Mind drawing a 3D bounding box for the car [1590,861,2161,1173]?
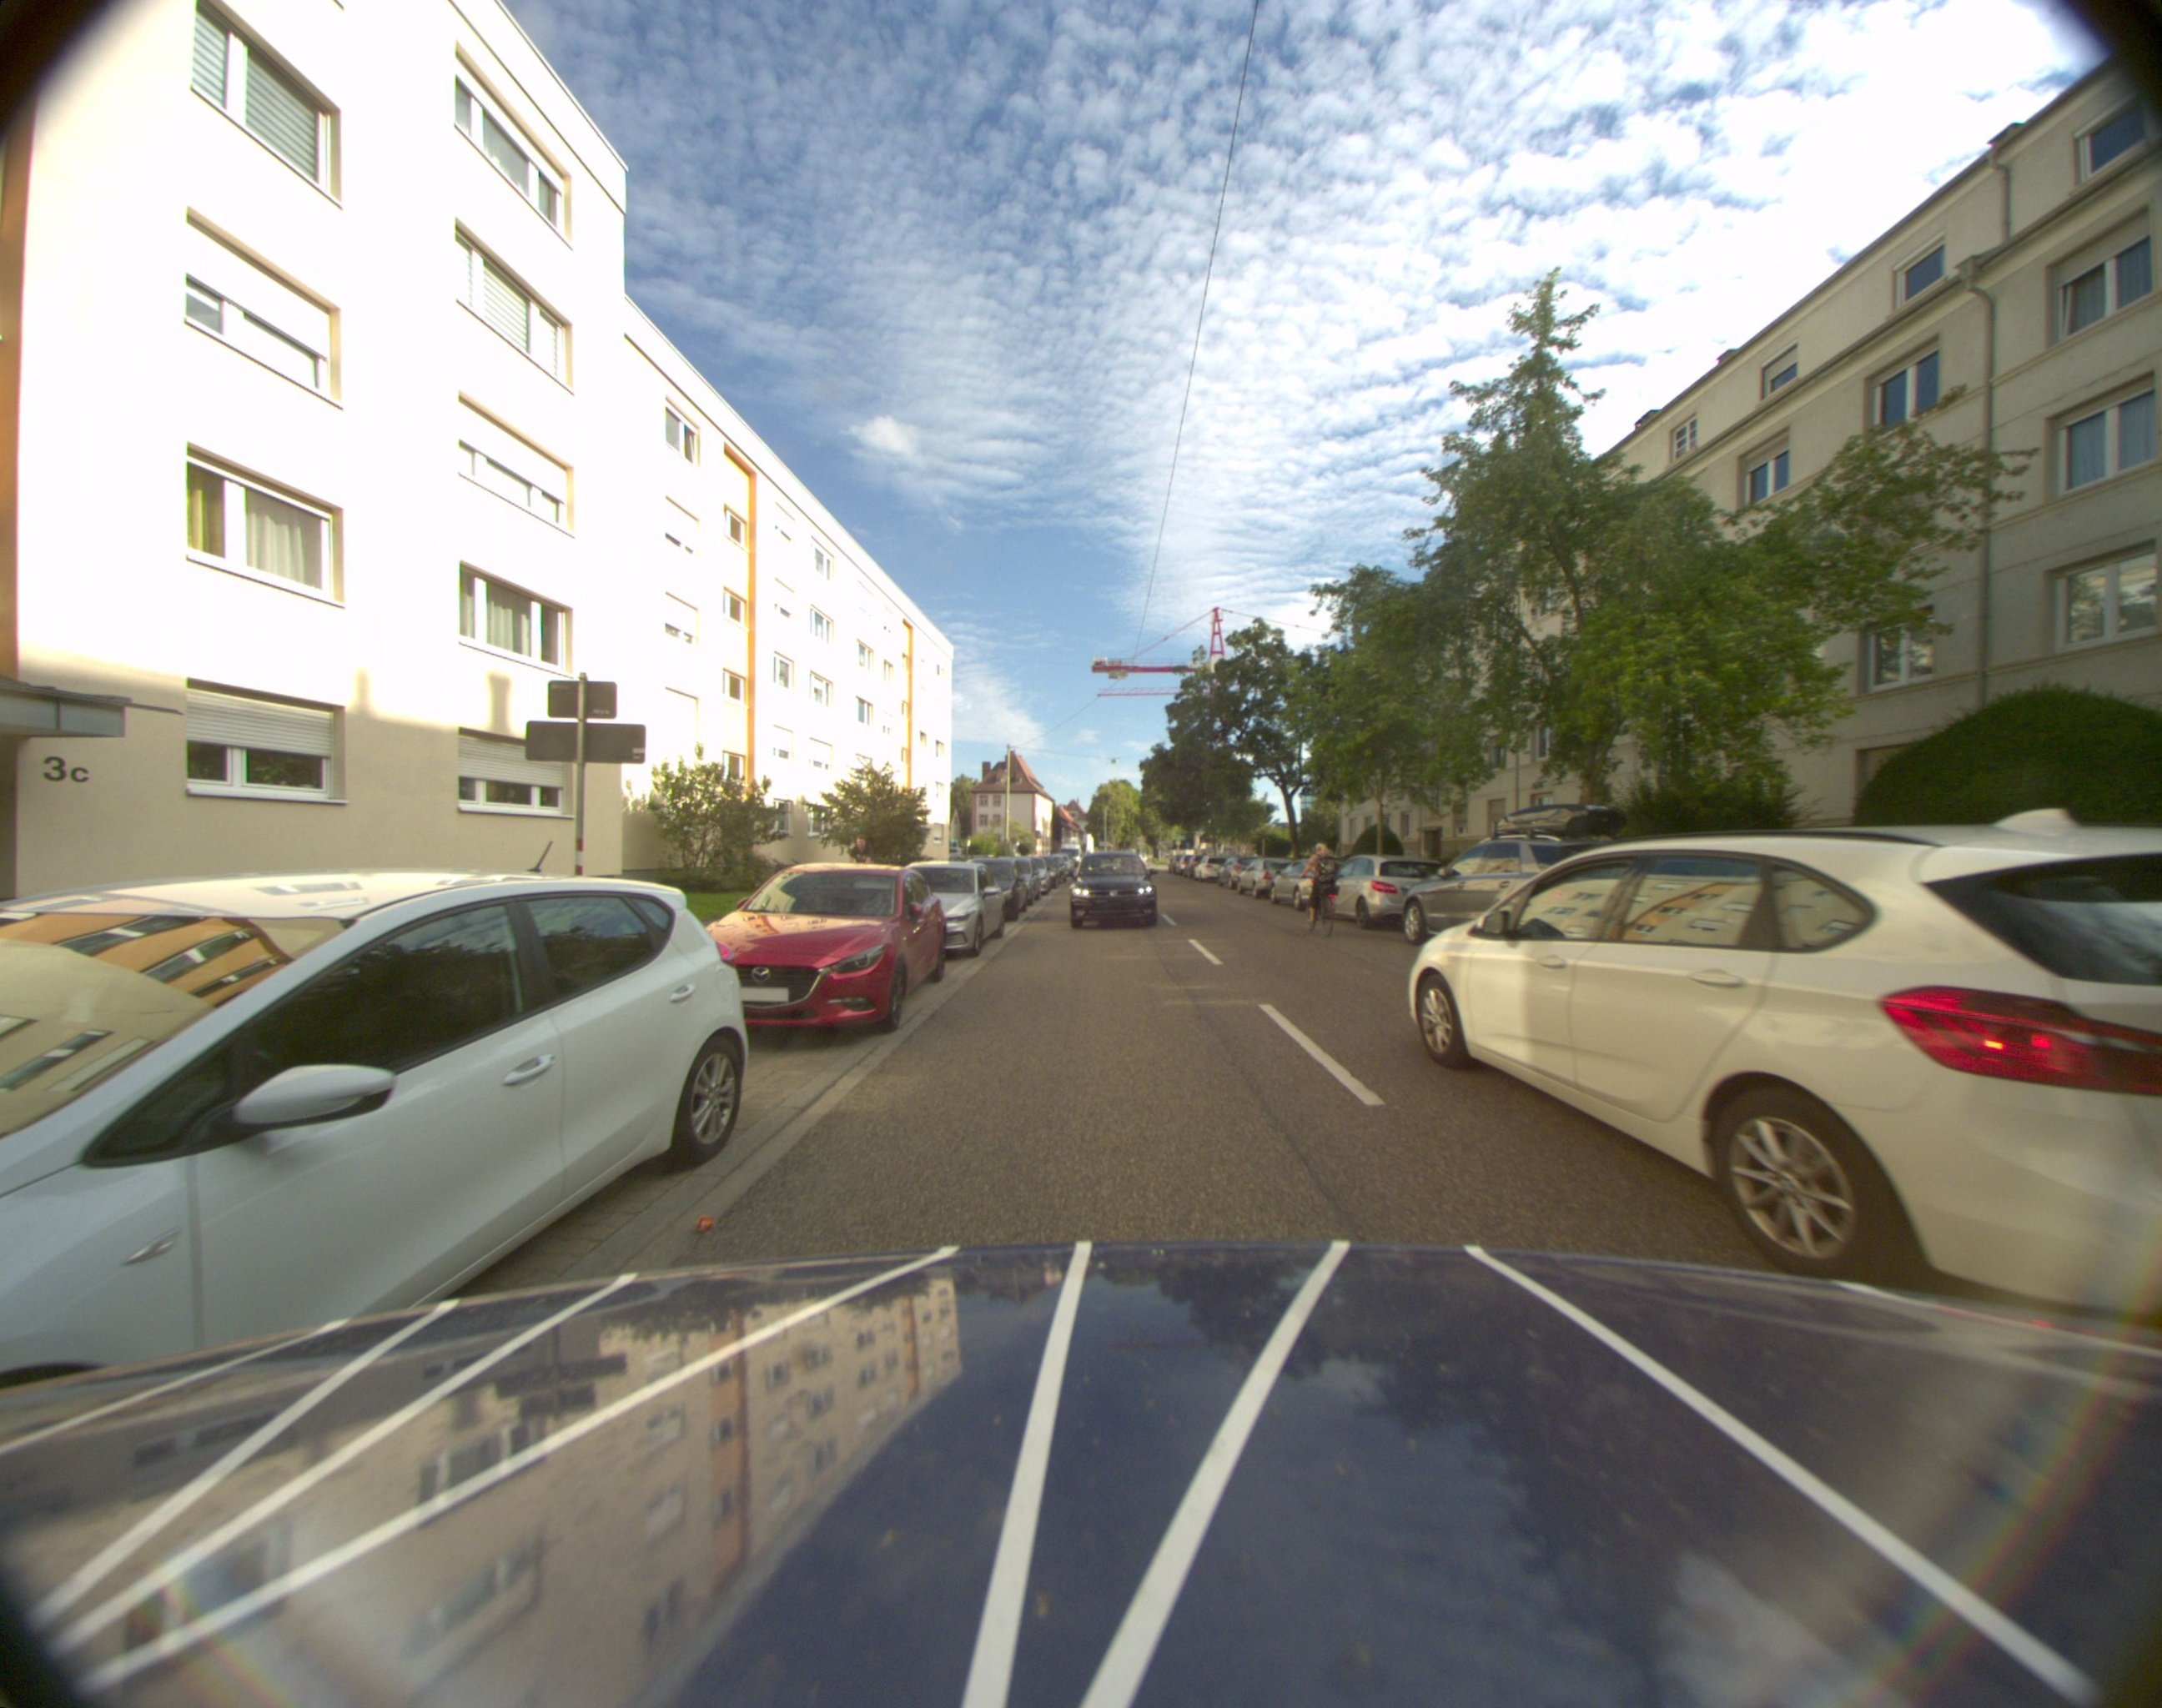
[{"bbox_3d":[6.088,0.867,5.787,1.689,1.472,4.119,3,1,2],"label":"car"}]

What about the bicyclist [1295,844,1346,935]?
[{"bbox_3d":[4.312,0.613,13.734,0.643,1.591,0.990,0,1,2],"label":"bicyclist"}]

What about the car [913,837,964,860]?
[{"bbox_3d":[-13.818,-0.556,73.826,4.275,2.179,2.368,0,1,9],"label":"car"}]

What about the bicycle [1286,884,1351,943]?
[{"bbox_3d":[4.281,1.043,13.818,0.643,0.918,1.858,-1,0,2],"label":"bicycle"}]

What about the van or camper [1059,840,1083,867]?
[{"bbox_3d":[-0.926,-0.070,74.762,2.165,2.512,5.914,2,0,1],"label":"van or camper"}]

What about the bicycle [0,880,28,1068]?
[{"bbox_3d":[-7.745,0.831,4.023,0.605,1.283,2.635,1,1,2],"label":"bicycle"}]

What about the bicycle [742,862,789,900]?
[{"bbox_3d":[-9.503,0.796,22.958,0.502,1.024,2.069,3,1,1],"label":"bicycle"}]

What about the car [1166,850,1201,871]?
[{"bbox_3d":[7.647,0.458,57.114,1.932,1.477,4.420,2,0,-1],"label":"car"}]

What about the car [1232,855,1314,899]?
[{"bbox_3d":[6.805,0.762,27.420,1.742,1.385,4.666,3,0,1],"label":"car"}]

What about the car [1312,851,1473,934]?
[{"bbox_3d":[6.654,0.731,16.817,1.859,1.564,4.460,1,0,2],"label":"car"}]

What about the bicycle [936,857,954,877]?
[{"bbox_3d":[-7.352,0.698,41.181,0.597,0.992,1.692,0,2,1],"label":"bicycle"}]

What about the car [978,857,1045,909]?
[{"bbox_3d":[-2.191,0.886,25.037,1.687,1.477,4.293,2,1,1],"label":"car"}]

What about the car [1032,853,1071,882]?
[{"bbox_3d":[-1.547,0.691,40.573,1.687,1.427,4.207,1,0,3],"label":"car"}]

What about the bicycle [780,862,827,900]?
[{"bbox_3d":[-8.380,0.782,23.031,0.595,1.024,2.119,3,1,1],"label":"bicycle"}]

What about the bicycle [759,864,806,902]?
[{"bbox_3d":[-8.982,0.850,22.942,0.502,1.024,2.095,3,1,1],"label":"bicycle"}]

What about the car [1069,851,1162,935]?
[{"bbox_3d":[0.675,0.796,17.406,1.859,1.673,3.999,-1,0,-1],"label":"car"}]

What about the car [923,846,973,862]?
[{"bbox_3d":[-12.283,-0.011,70.196,4.084,1.473,1.872,0,1,11],"label":"car"}]

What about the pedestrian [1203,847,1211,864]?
[{"bbox_3d":[13.443,0.148,81.146,0.743,1.758,0.775,-1,1,0],"label":"pedestrian"}]

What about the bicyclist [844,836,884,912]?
[{"bbox_3d":[-4.872,0.429,17.081,0.625,1.668,0.893,0,1,1],"label":"bicyclist"}]

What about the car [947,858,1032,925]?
[{"bbox_3d":[-2.265,0.889,19.699,1.666,1.482,3.941,1,0,0],"label":"car"}]

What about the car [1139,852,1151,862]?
[{"bbox_3d":[10.609,0.552,126.724,1.834,1.659,4.085,0,0,2],"label":"car"}]

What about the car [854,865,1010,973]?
[{"bbox_3d":[-2.328,0.960,12.908,1.665,1.408,4.059,2,1,2],"label":"car"}]

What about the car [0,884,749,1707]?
[{"bbox_3d":[-2.731,0.919,2.135,1.733,1.452,4.116,1,1,1],"label":"car"}]

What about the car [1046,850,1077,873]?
[{"bbox_3d":[-1.301,0.486,53.149,1.767,1.515,4.330,2,1,3],"label":"car"}]

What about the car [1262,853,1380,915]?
[{"bbox_3d":[6.728,0.778,21.921,1.860,1.477,4.944,3,0,1],"label":"car"}]

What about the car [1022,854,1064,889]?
[{"bbox_3d":[-1.724,0.780,35.520,1.688,1.492,3.873,1,0,0],"label":"car"}]

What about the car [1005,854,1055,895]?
[{"bbox_3d":[-1.959,0.768,30.274,1.704,1.455,4.179,1,0,-1],"label":"car"}]

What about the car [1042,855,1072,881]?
[{"bbox_3d":[-1.446,0.788,45.828,1.688,1.459,4.205,1,0,-2],"label":"car"}]

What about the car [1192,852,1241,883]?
[{"bbox_3d":[7.301,0.667,41.389,1.860,1.477,4.798,3,0,1],"label":"car"}]

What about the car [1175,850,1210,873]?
[{"bbox_3d":[7.611,0.486,52.166,1.825,1.477,4.369,2,0,2],"label":"car"}]

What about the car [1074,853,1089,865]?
[{"bbox_3d":[0.101,0.644,95.375,1.662,1.477,4.001,0,0,4],"label":"car"}]

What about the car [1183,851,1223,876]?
[{"bbox_3d":[7.451,0.552,46.773,1.860,1.477,4.684,0,0,1],"label":"car"}]

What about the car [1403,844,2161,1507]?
[{"bbox_3d":[3.284,0.732,3.709,1.863,1.520,4.011,0,0,2],"label":"car"}]

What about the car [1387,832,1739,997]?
[{"bbox_3d":[6.376,0.666,10.965,1.882,1.782,4.970,2,0,0],"label":"car"}]

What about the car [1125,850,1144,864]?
[{"bbox_3d":[5.637,0.326,80.734,1.744,1.493,4.010,0,0,1],"label":"car"}]

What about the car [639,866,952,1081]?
[{"bbox_3d":[-2.498,0.937,7.799,1.733,1.506,4.190,1,1,-2],"label":"car"}]

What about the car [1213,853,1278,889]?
[{"bbox_3d":[7.309,0.726,34.231,1.860,1.477,4.683,1,0,0],"label":"car"}]

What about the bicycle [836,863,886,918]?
[{"bbox_3d":[-4.882,0.779,16.976,0.525,1.128,1.929,0,0,1],"label":"bicycle"}]

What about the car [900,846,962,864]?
[{"bbox_3d":[-12.324,0.079,62.603,4.675,1.473,1.871,0,1,7],"label":"car"}]
